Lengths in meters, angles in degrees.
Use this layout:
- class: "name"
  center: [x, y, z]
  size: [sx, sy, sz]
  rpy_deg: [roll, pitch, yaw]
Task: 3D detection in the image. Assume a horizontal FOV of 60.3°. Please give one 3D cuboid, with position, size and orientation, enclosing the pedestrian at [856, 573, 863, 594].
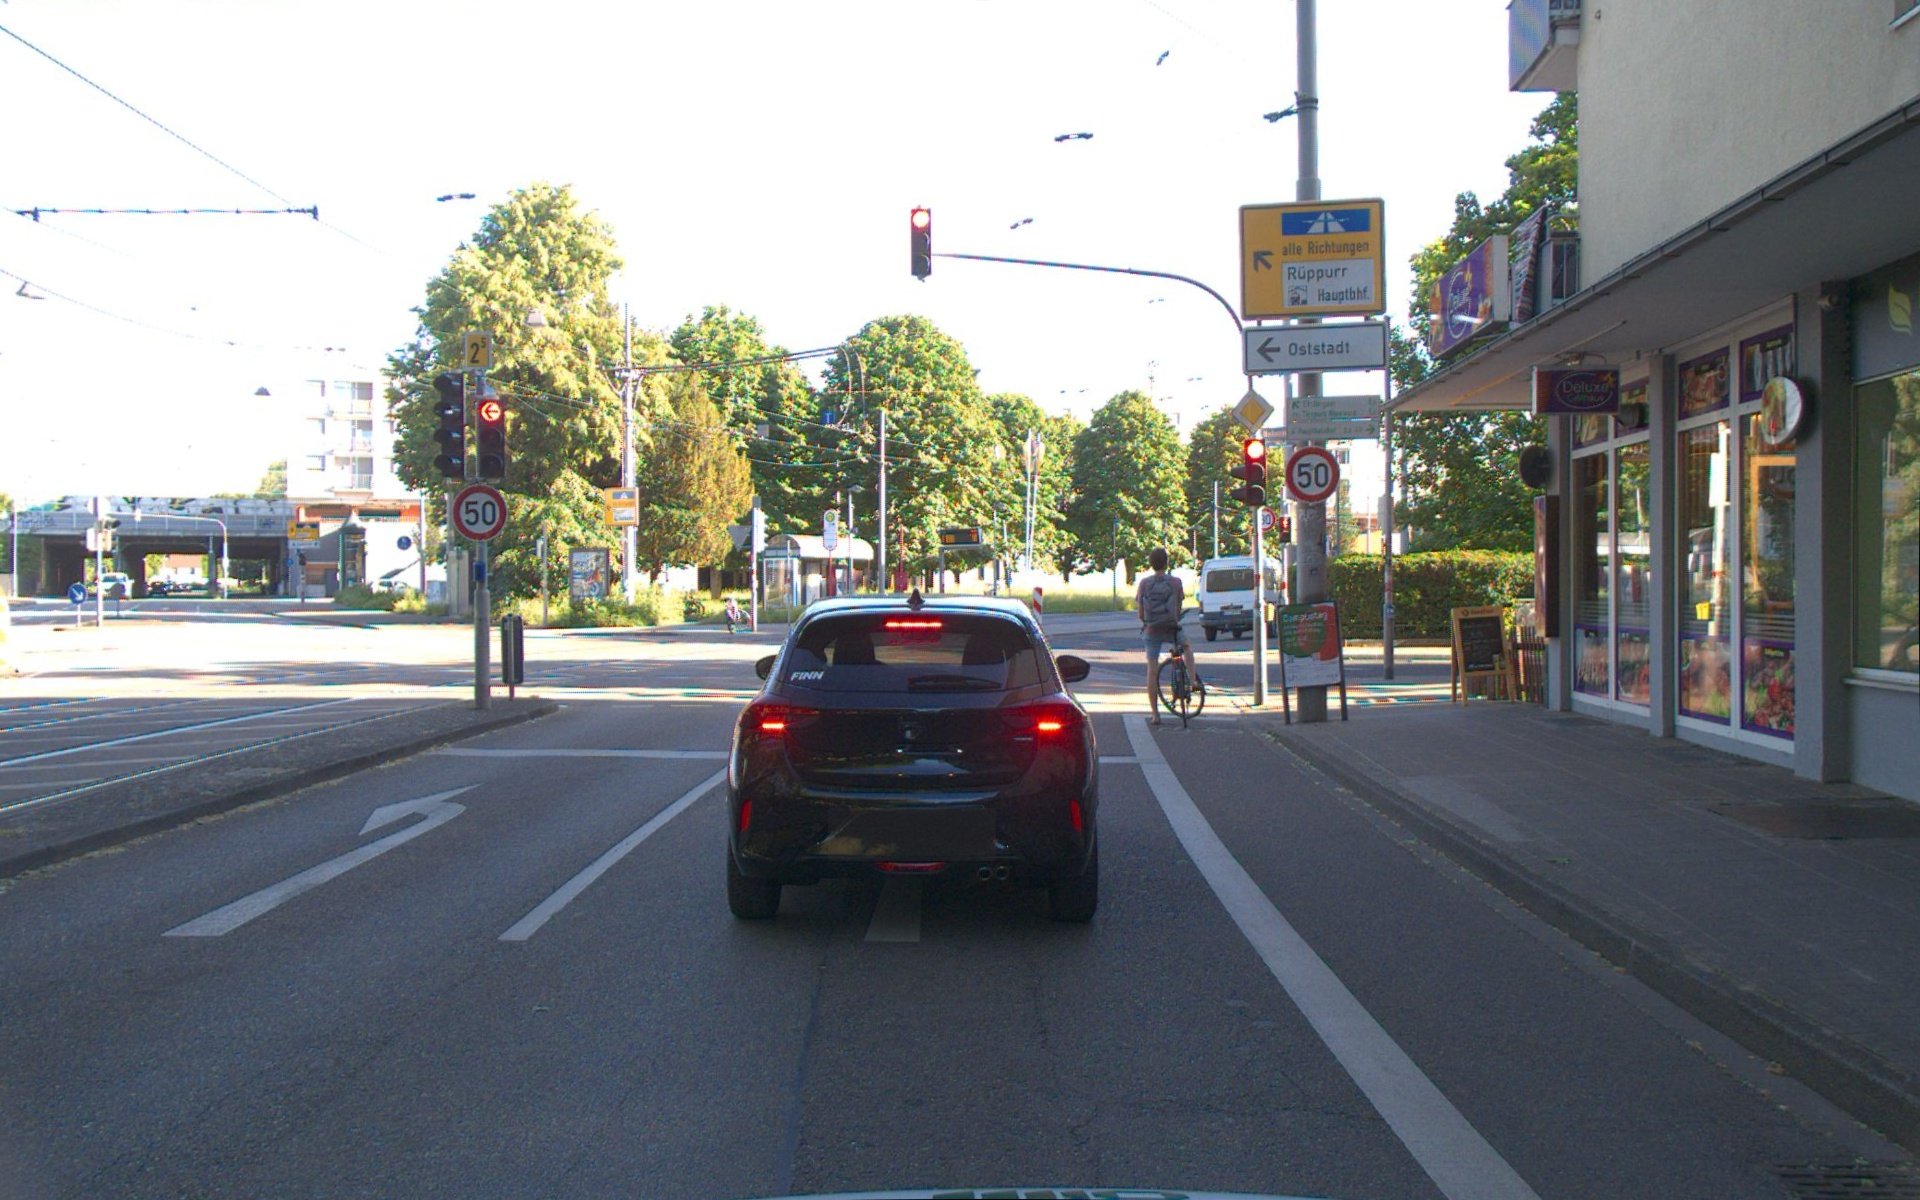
- class: "pedestrian"
  center: [-6.773, -1.122, 111.558]
  size: [0.404, 1.437, 0.436]
  rpy_deg: [2, 0, -3]

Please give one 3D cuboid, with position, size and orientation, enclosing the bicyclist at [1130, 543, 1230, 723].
- class: "bicyclist"
  center: [2.354, 0.341, 17.791]
  size: [0.922, 1.883, 0.864]
  rpy_deg: [-1, 0, -1]

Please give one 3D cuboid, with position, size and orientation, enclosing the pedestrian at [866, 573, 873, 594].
- class: "pedestrian"
  center: [-6.078, -1.103, 111.155]
  size: [0.404, 1.437, 0.436]
  rpy_deg: [2, 0, -1]

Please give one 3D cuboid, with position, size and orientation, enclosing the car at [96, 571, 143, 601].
- class: "car"
  center: [-52.493, -0.883, 103.250]
  size: [2.192, 1.855, 4.100]
  rpy_deg: [-1, 1, -33]

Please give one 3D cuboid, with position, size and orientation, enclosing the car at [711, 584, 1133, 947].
- class: "car"
  center: [-0.172, 0.654, 8.780]
  size: [1.692, 1.454, 4.186]
  rpy_deg: [1, 0, -1]

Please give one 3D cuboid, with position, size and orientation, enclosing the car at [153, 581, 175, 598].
- class: "car"
  center: [-81.406, -1.068, 169.114]
  size: [1.969, 1.630, 4.211]
  rpy_deg: [-1, 1, -26]

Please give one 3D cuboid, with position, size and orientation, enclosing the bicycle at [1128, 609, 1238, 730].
- class: "bicycle"
  center: [2.366, 0.710, 17.807]
  size: [0.842, 1.173, 2.171]
  rpy_deg: [-1, 1, -1]

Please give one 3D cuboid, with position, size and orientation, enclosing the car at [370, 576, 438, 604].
- class: "car"
  center: [-36.746, -0.667, 109.321]
  size: [4.123, 1.836, 1.722]
  rpy_deg: [-1, 1, -26]

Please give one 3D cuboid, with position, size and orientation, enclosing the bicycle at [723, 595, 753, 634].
- class: "bicycle"
  center: [-6.217, 0.382, 46.385]
  size: [0.593, 1.049, 1.982]
  rpy_deg: [0, 1, -1]

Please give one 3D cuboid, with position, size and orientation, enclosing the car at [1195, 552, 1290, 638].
- class: "car"
  center: [8.012, -0.155, 46.590]
  size: [2.020, 2.288, 4.890]
  rpy_deg: [0, 1, 17]

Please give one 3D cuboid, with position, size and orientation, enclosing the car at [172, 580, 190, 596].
- class: "car"
  center: [-103.481, -1.603, 219.598]
  size: [1.971, 1.981, 4.458]
  rpy_deg: [-1, 1, -28]
